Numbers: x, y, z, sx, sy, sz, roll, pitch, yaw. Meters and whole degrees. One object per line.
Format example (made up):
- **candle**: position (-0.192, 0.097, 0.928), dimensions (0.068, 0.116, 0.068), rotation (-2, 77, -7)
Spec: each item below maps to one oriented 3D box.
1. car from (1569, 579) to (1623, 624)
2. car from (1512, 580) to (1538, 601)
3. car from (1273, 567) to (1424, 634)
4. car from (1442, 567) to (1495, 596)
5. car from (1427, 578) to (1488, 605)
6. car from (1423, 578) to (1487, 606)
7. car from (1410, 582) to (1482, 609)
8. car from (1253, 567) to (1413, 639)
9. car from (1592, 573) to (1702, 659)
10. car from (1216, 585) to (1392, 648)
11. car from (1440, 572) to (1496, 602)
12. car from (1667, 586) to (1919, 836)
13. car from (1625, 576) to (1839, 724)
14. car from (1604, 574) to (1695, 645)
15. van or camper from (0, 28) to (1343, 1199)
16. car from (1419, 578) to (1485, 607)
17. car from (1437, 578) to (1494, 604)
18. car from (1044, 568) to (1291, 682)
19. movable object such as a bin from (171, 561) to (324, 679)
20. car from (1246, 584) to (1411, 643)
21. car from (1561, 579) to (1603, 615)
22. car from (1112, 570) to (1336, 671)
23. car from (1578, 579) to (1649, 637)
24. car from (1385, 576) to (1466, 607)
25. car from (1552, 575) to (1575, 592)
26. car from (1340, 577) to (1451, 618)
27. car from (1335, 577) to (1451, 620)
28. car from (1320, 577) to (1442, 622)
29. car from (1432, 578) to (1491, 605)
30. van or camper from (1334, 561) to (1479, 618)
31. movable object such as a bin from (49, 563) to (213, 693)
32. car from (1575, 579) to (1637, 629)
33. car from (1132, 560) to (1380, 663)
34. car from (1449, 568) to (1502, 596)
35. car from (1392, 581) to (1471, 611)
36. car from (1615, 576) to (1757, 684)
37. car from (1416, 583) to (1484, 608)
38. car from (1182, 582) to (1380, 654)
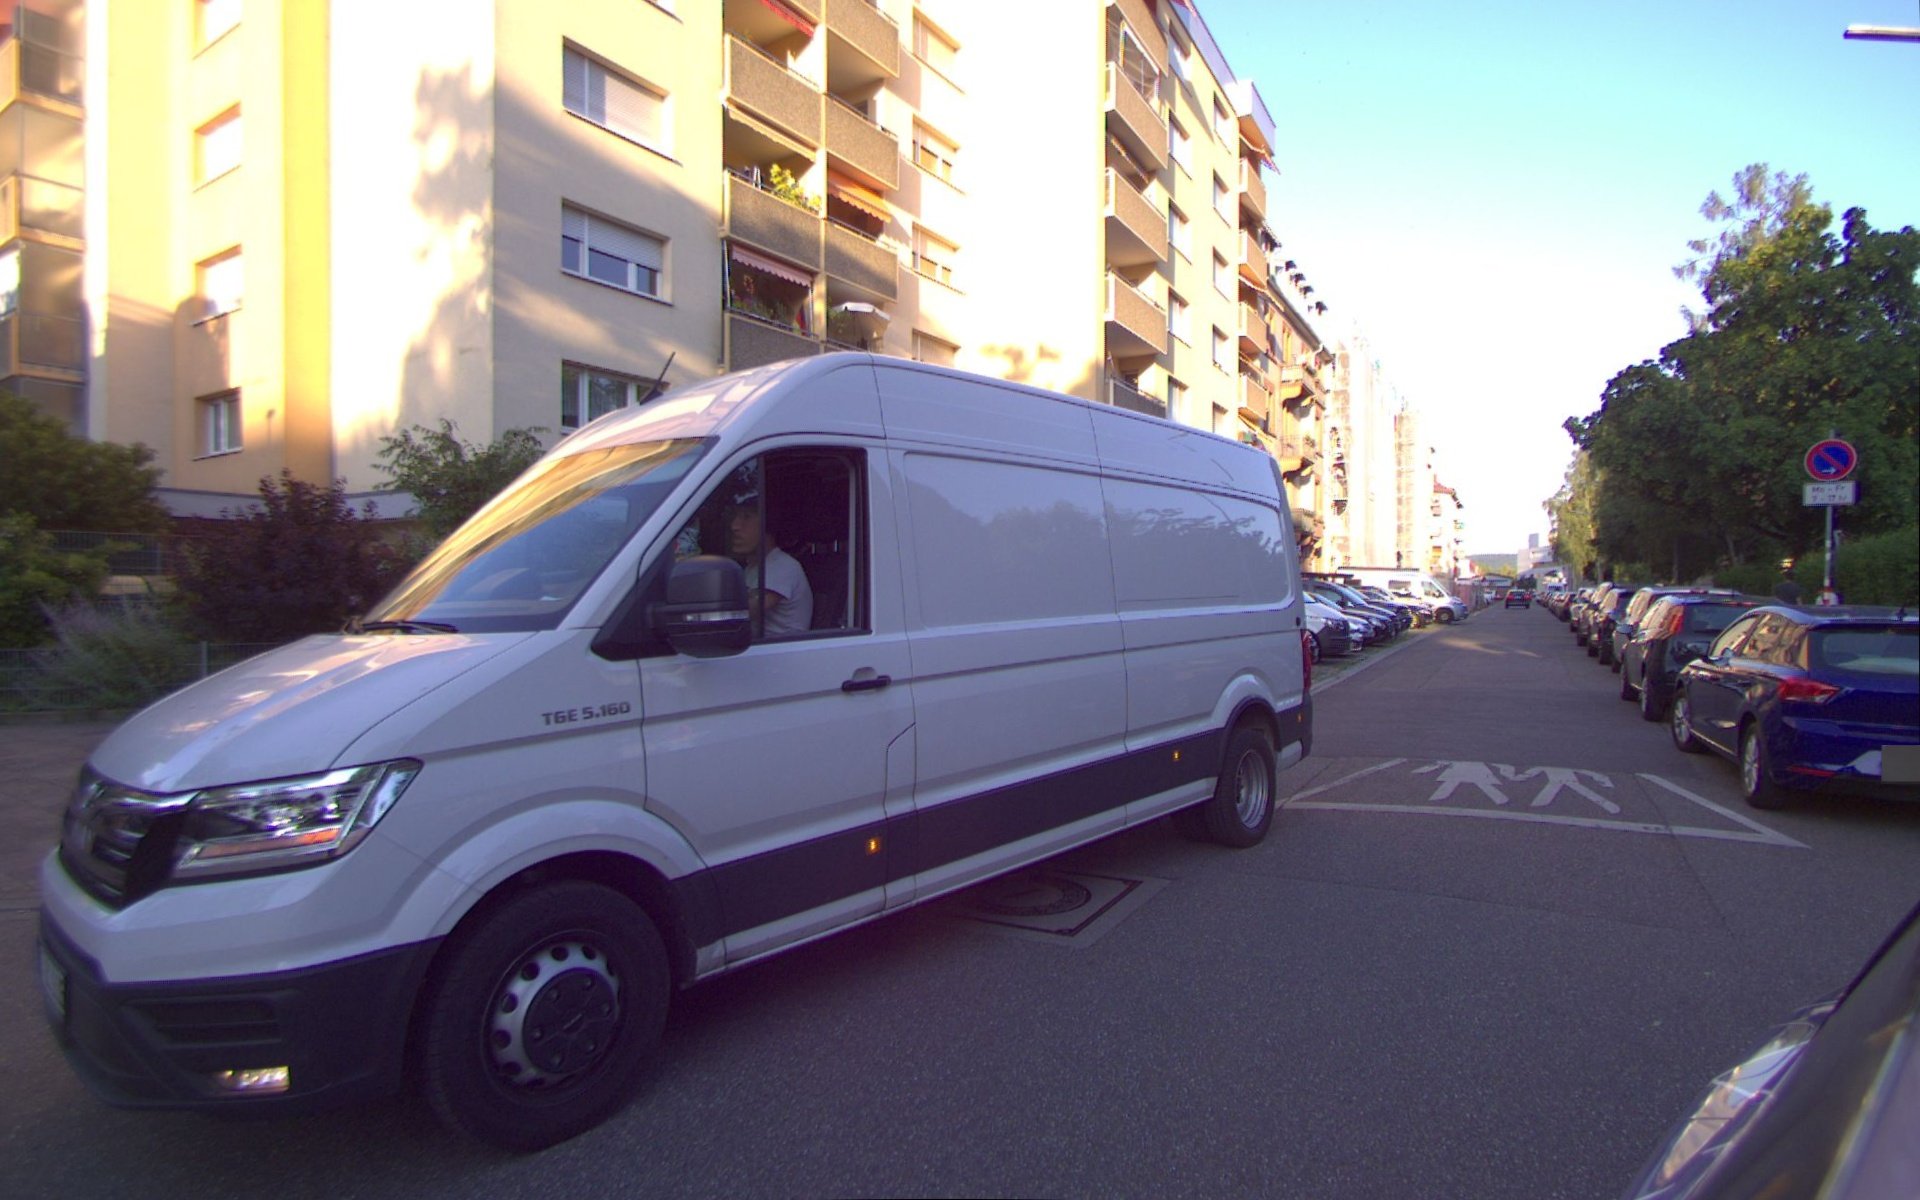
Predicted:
- **car**: position (23.841, 0.028, 38.003), dimensions (1.520, 1.605, 2.925), rotation (1, 1, 29)
- **car**: position (47.943, -0.848, 85.841), dimensions (1.730, 1.680, 4.315), rotation (1, 1, 32)
- **car**: position (12.544, -0.038, 32.731), dimensions (4.329, 2.022, 1.724), rotation (1, 1, 31)
- **car**: position (45.398, -1.644, 90.385), dimensions (4.157, 2.506, 1.819), rotation (1, 1, 31)
- **car**: position (38.934, -0.676, 79.255), dimensions (4.157, 2.023, 1.819), rotation (1, 1, 31)
- **car**: position (37.442, -0.625, 76.570), dimensions (4.157, 2.023, 2.008), rotation (1, 1, 31)
- **car**: position (32.401, -0.323, 67.467), dimensions (4.157, 1.680, 1.724), rotation (1, 1, 31)
- **car**: position (11.311, 0.043, 30.781), dimensions (4.329, 2.022, 1.724), rotation (1, 1, 31)
- **car**: position (14.120, 0.262, 20.946), dimensions (1.520, 1.605, 3.368), rotation (1, 1, 29)
- **car**: position (9.003, 0.387, 26.540), dimensions (4.111, 1.479, 1.724), rotation (1, 1, 31)
- **car**: position (44.045, -1.162, 87.770), dimensions (4.157, 2.472, 1.819), rotation (1, 1, 31)
- **car**: position (6.885, 0.669, 7.819), dimensions (1.706, 1.503, 3.757), rotation (1, 1, 26)
- **car**: position (9.177, 0.476, 12.296), dimensions (1.520, 1.503, 3.476), rotation (1, 1, 29)
- **car**: position (16.786, 0.177, 24.746), dimensions (1.520, 1.605, 2.925), rotation (1, 1, 29)
- **van or camper**: position (-0.327, 0.140, 5.273), dimensions (2.087, 2.623, 6.769), rotation (-2, -1, 41)
- **car**: position (35.369, -0.552, 72.765), dimensions (4.157, 2.023, 1.724), rotation (1, 1, 31)
- **car**: position (42.408, -0.780, 84.897), dimensions (4.157, 2.023, 1.819), rotation (1, 1, 31)
- **car**: position (3.716, 0.362, 18.195), dimensions (4.015, 1.836, 1.812), rotation (1, 1, 28)
- **movable object such as a bin**: position (-9.661, 0.229, 13.728), dimensions (1.569, 1.489, 1.174), rotation (1, 1, 30)
- **car**: position (10.349, 0.330, 28.477), dimensions (4.111, 1.479, 1.724), rotation (1, 1, 31)
- **car**: position (29.161, -0.152, 47.509), dimensions (1.520, 1.605, 2.925), rotation (1, 1, 29)
- **car**: position (5.302, 0.338, 20.389), dimensions (4.073, 1.836, 1.812), rotation (1, 1, 28)
- **car**: position (19.229, 0.182, 29.872), dimensions (1.520, 1.605, 2.925), rotation (1, 1, 29)
- **car**: position (27.052, -0.515, 58.839), dimensions (4.157, 1.680, 1.724), rotation (1, 1, 31)
- **car**: position (59.680, -1.656, 100.171), dimensions (1.788, 1.605, 2.925), rotation (1, 1, 29)
- **car**: position (19.243, -0.142, 44.783), dimensions (4.329, 1.680, 1.724), rotation (1, 1, 31)
- **car**: position (18.351, -0.106, 42.954), dimensions (4.329, 1.680, 1.724), rotation (1, 1, 31)
- **car**: position (16.921, -0.067, 40.761), dimensions (4.329, 1.680, 1.724), rotation (1, 1, 31)
- **car**: position (40.244, -0.711, 81.228), dimensions (4.157, 2.023, 1.819), rotation (1, 1, 31)
- **van or camper**: position (21.031, -0.552, 47.812), dimensions (6.055, 2.521, 2.173), rotation (1, 1, 31)
- **movable object such as a bin**: position (-10.303, 0.301, 12.586), dimensions (1.569, 1.489, 1.115), rotation (1, 1, 30)
- **car**: position (21.760, 0.102, 34.170), dimensions (1.520, 1.605, 2.925), rotation (1, 1, 29)
- **car**: position (6.605, 0.166, 22.798), dimensions (5.040, 2.111, 1.977), rotation (1, 1, 33)
- **car**: position (47.524, -1.694, 93.312), dimensions (4.157, 2.506, 1.819), rotation (1, 1, 31)
- **car**: position (28.404, -0.275, 61.028), dimensions (4.157, 1.680, 1.724), rotation (1, 1, 31)
- **car**: position (11.974, 0.411, 16.862), dimensions (1.520, 1.605, 3.098), rotation (1, 1, 29)
- **car**: position (34.005, -0.332, 70.243), dimensions (4.157, 1.680, 1.724), rotation (1, 1, 31)
- **car**: position (7.796, 0.380, 24.682), dimensions (4.331, 1.563, 1.724), rotation (1, 1, 31)
